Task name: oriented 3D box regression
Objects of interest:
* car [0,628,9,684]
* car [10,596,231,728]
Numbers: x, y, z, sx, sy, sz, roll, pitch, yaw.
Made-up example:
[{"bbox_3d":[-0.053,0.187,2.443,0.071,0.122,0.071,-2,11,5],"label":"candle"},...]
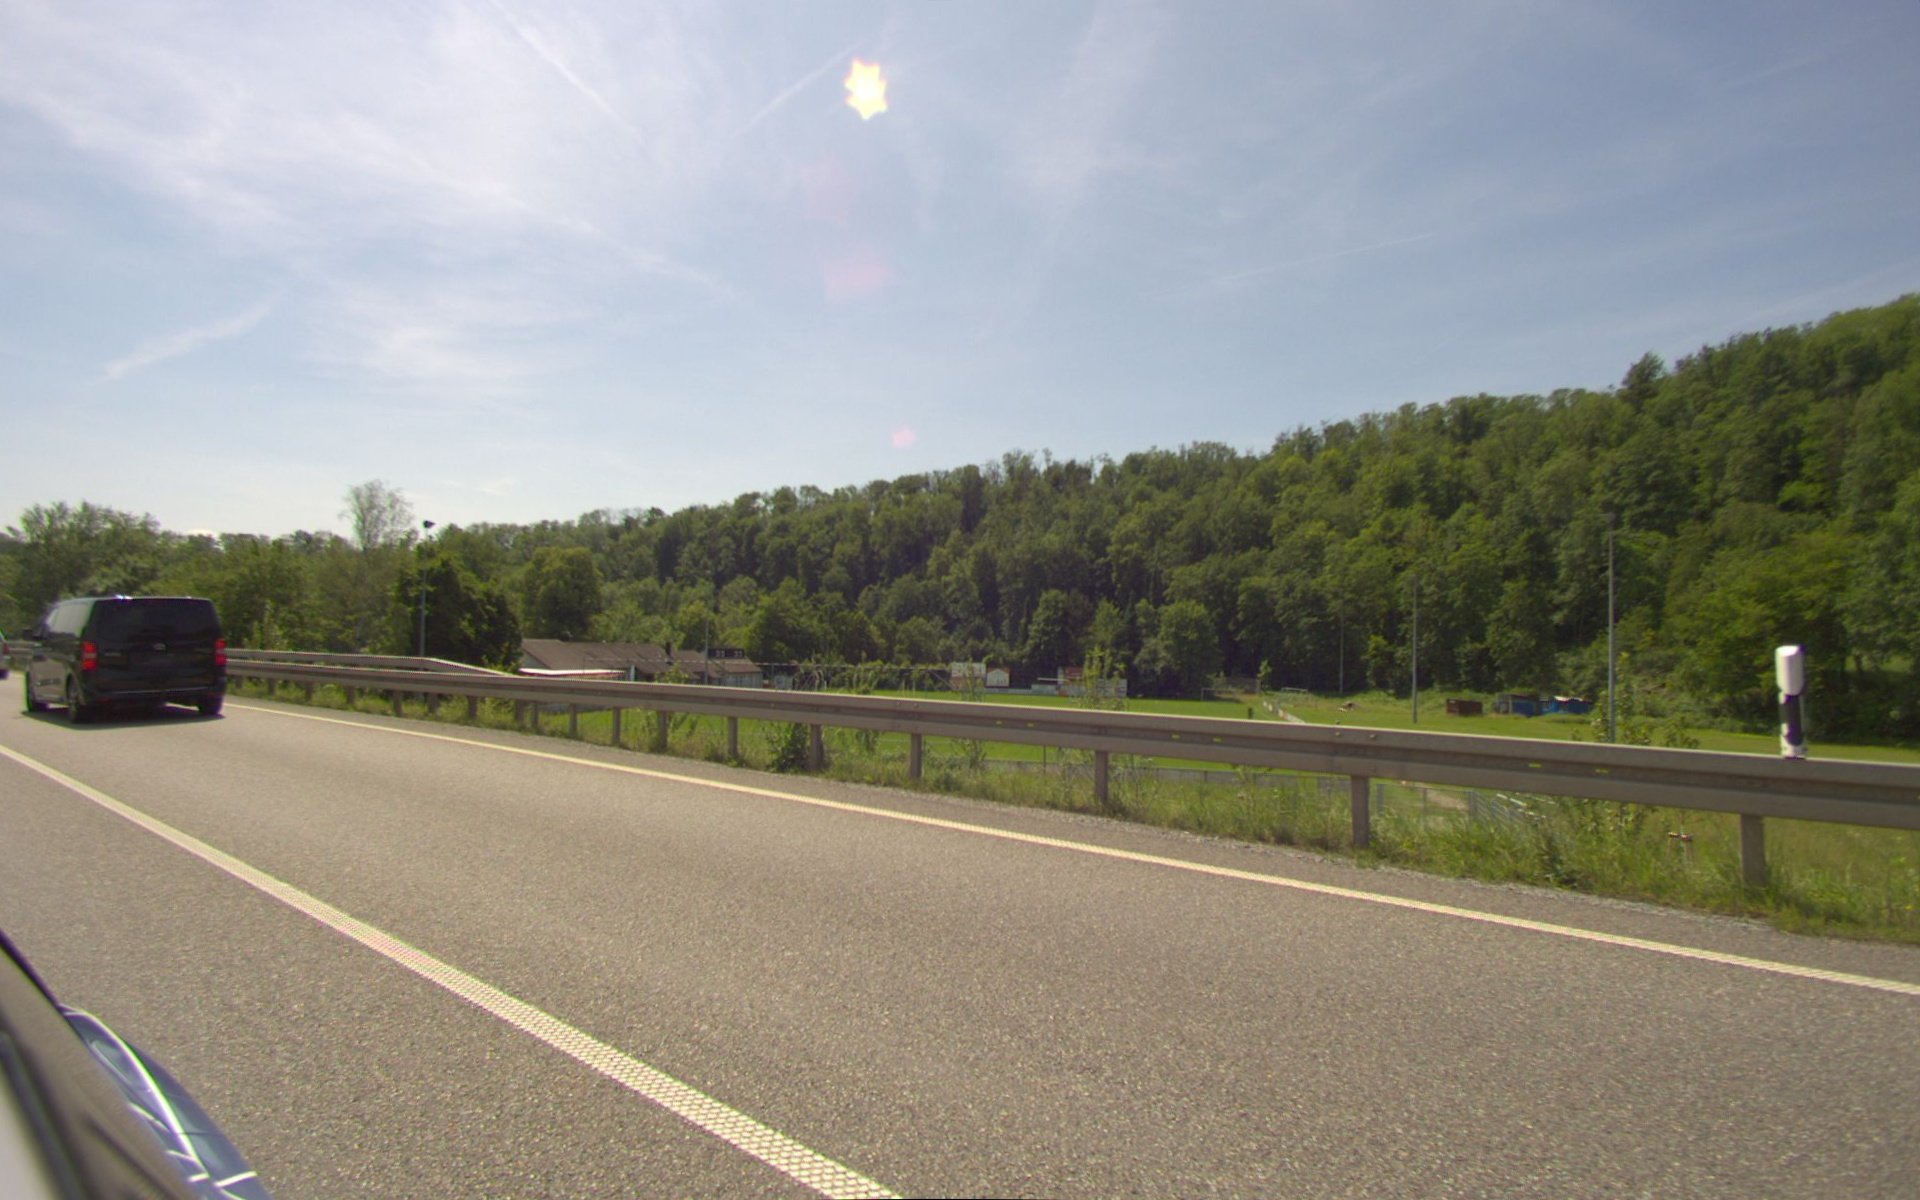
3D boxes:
[{"bbox_3d":[-27.588,1.519,27.705,4.166,1.505,1.750,-1,-1,40],"label":"car"},{"bbox_3d":[-13.942,0.934,16.689,5.171,1.874,1.902,-2,-1,40],"label":"car"}]
